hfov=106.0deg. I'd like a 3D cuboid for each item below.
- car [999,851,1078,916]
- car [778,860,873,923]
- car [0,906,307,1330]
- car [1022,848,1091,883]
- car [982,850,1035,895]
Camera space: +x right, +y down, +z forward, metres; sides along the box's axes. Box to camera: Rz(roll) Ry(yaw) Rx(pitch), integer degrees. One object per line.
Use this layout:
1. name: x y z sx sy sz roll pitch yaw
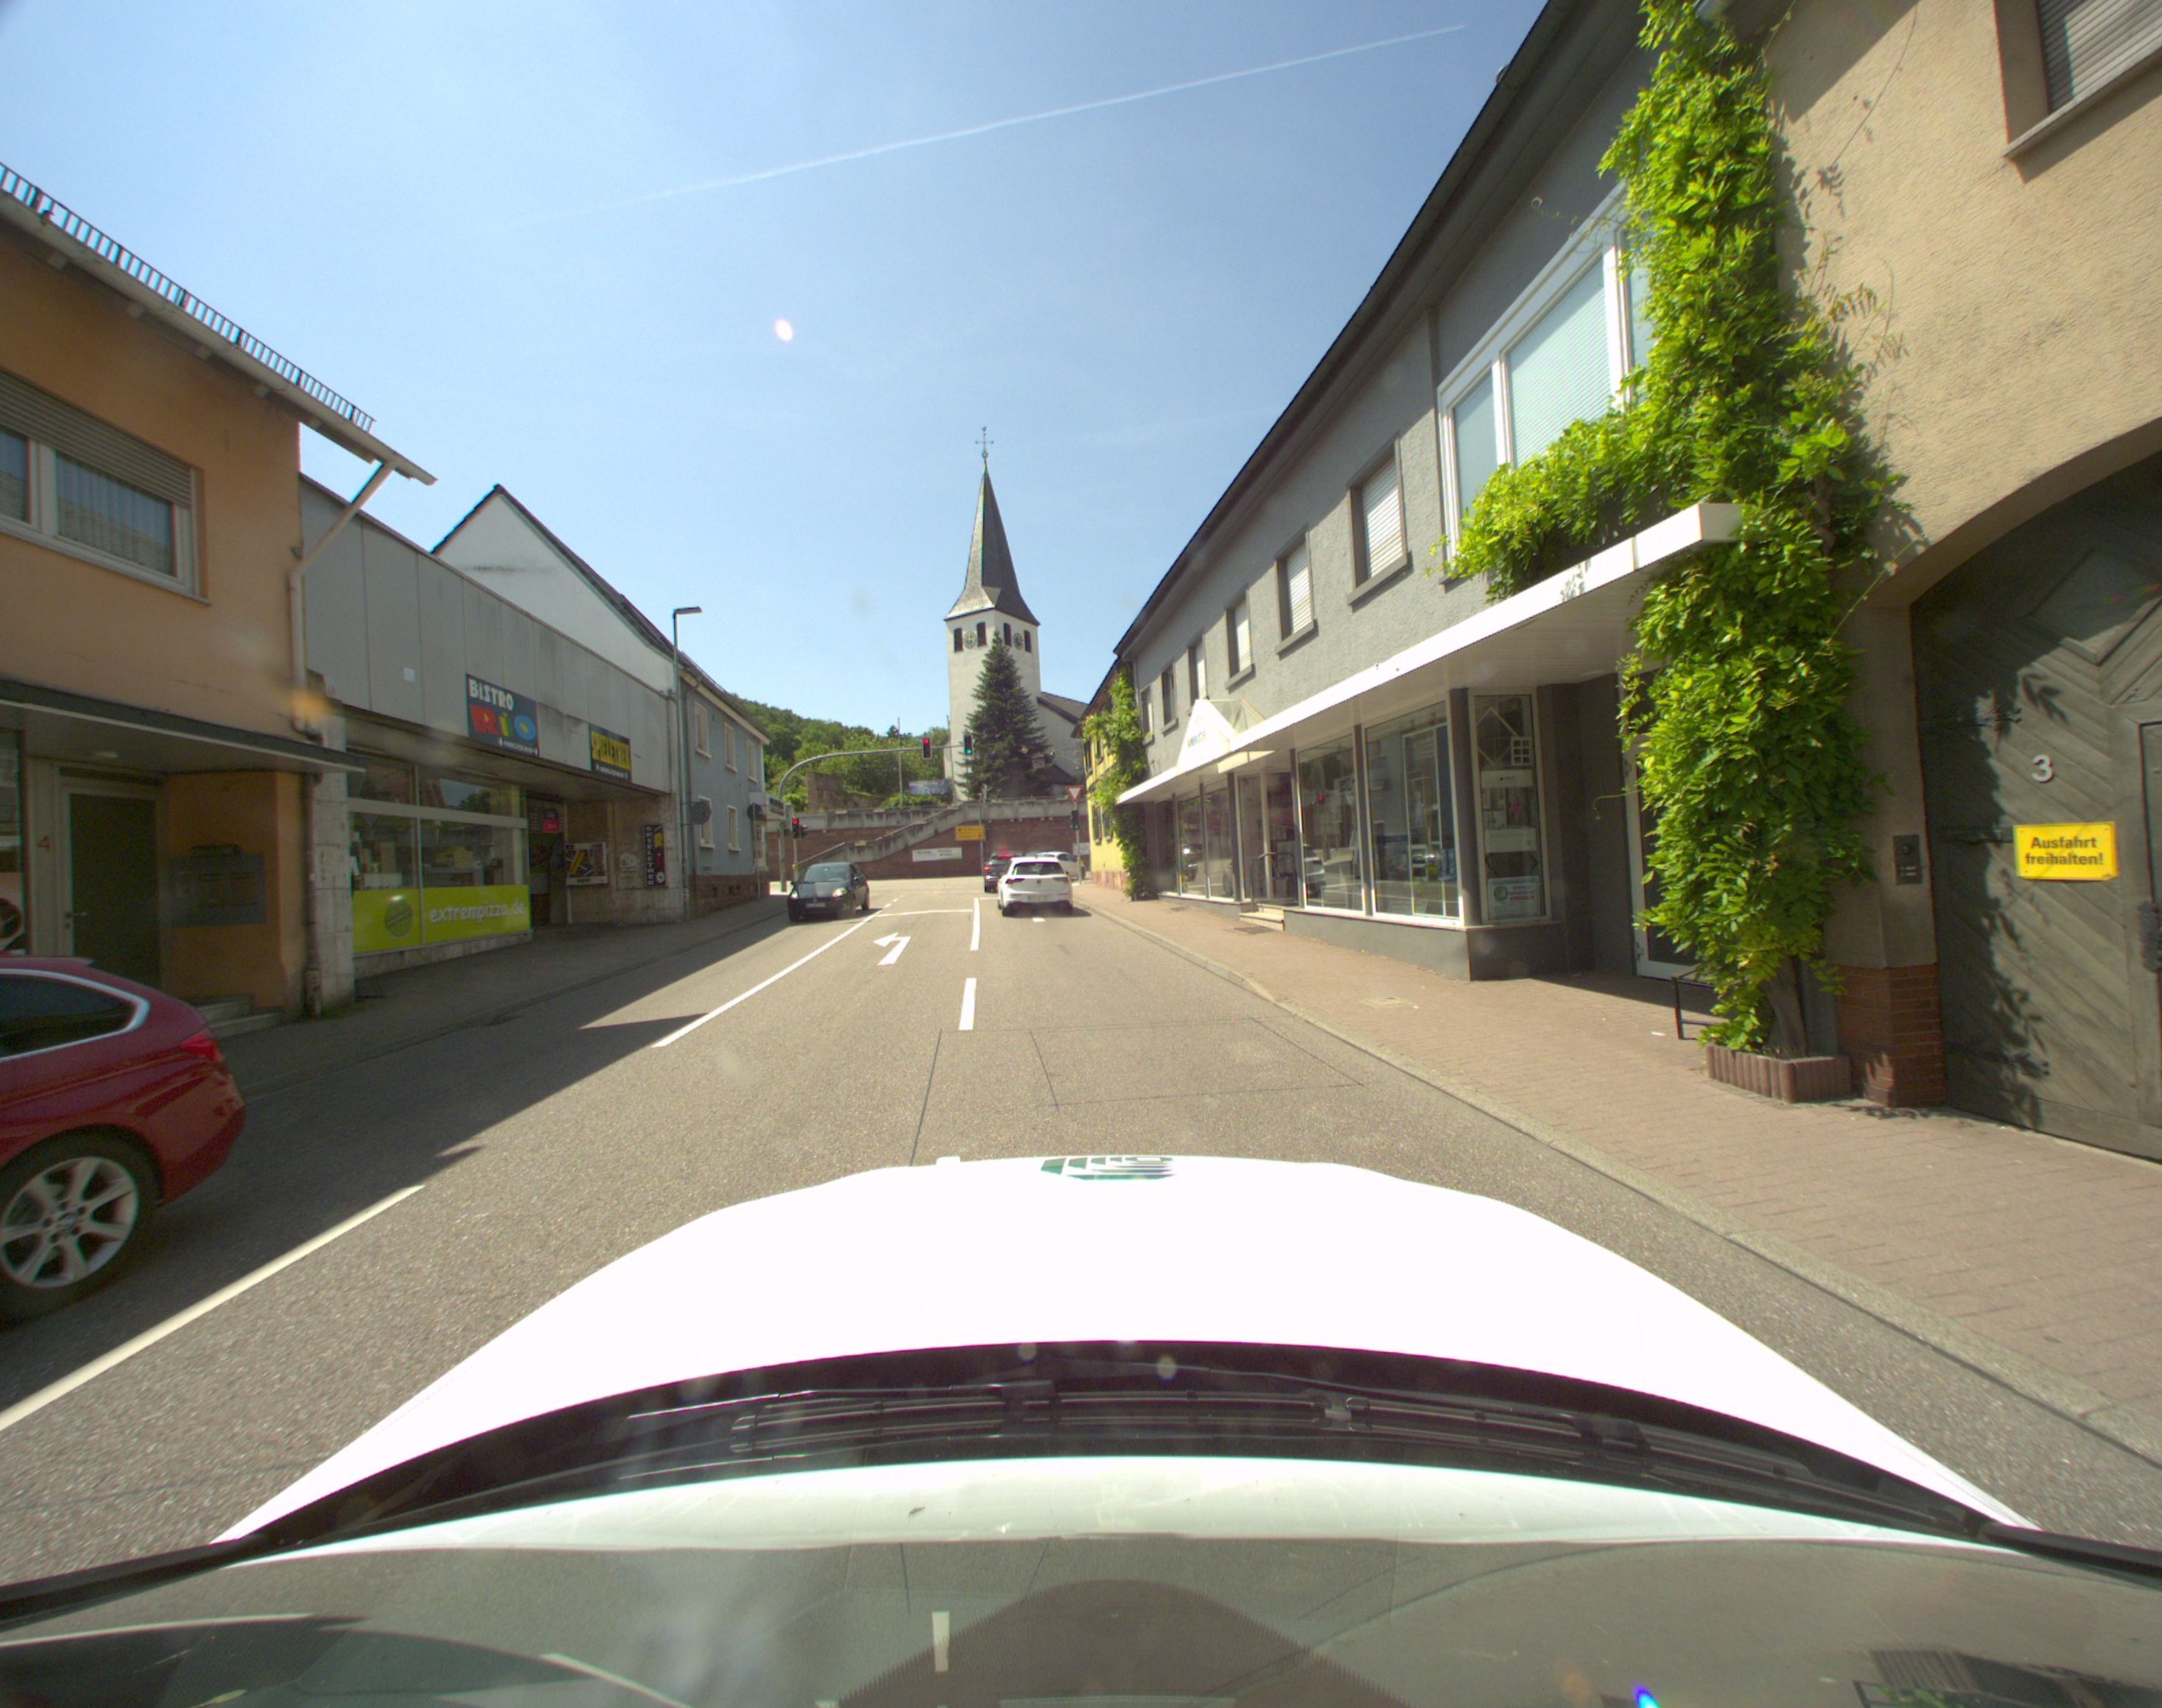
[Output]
1. car: -1.209 0.724 21.331 1.781 1.458 3.854 -3 0 -7
2. car: -7.000 0.966 22.716 1.716 1.422 3.812 -4 1 -6
3. car: -4.651 1.062 1.885 1.715 1.408 4.278 -5 1 -5
4. car: -1.169 0.549 40.675 1.754 1.496 4.011 -1 2 25
5. car: -2.942 0.690 33.295 1.946 1.582 4.320 -2 2 -4
